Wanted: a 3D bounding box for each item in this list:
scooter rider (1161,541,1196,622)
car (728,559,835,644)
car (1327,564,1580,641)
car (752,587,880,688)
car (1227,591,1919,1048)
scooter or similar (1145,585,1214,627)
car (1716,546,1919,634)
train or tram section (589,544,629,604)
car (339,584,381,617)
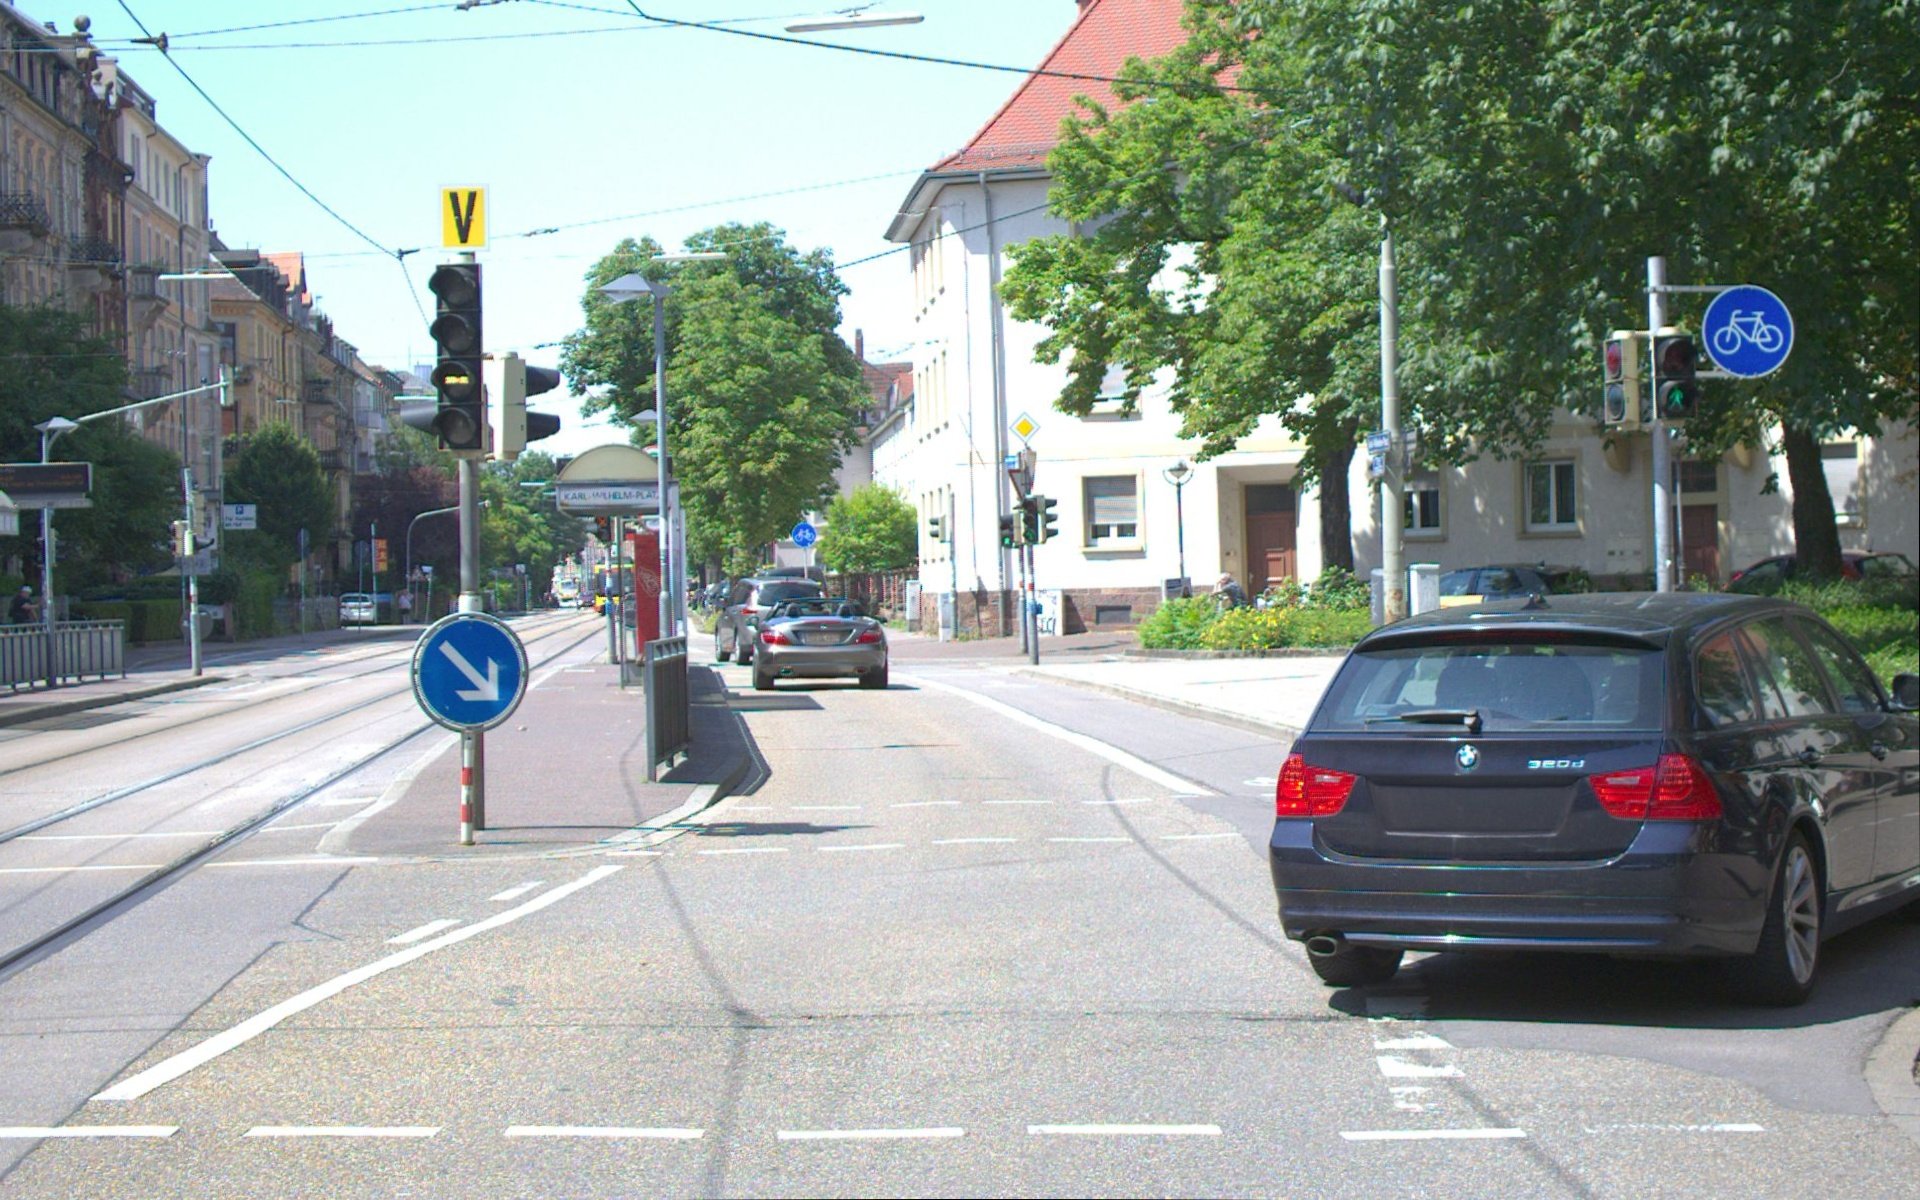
[{"bbox_3d":[4.552,-0.386,71.667,0.590,1.681,0.528,-1,0,-10],"label":"scooter rider"},{"bbox_3d":[-3.392,0.015,64.730,1.691,1.508,3.822,-1,0,-7],"label":"car"},{"bbox_3d":[8.539,0.041,59.575,3.994,1.239,1.621,-1,1,31],"label":"car"},{"bbox_3d":[-2.054,0.494,48.298,1.691,1.318,3.822,-1,0,-4],"label":"car"},{"bbox_3d":[2.702,0.683,13.218,1.725,1.404,4.558,1,1,27],"label":"car"},{"bbox_3d":[4.574,0.120,71.667,1.311,0.834,0.527,-1,0,-10],"label":"scooter or similar"},{"bbox_3d":[14.223,-0.160,54.265,1.787,1.324,4.338,-2,1,-37],"label":"car"},{"bbox_3d":[-21.095,-1.550,206.750,2.190,3.470,8.846,-2,1,-5],"label":"train or tram section"},{"bbox_3d":[-28.961,0.031,165.849,1.787,1.580,4.001,0,0,-13],"label":"car"}]
